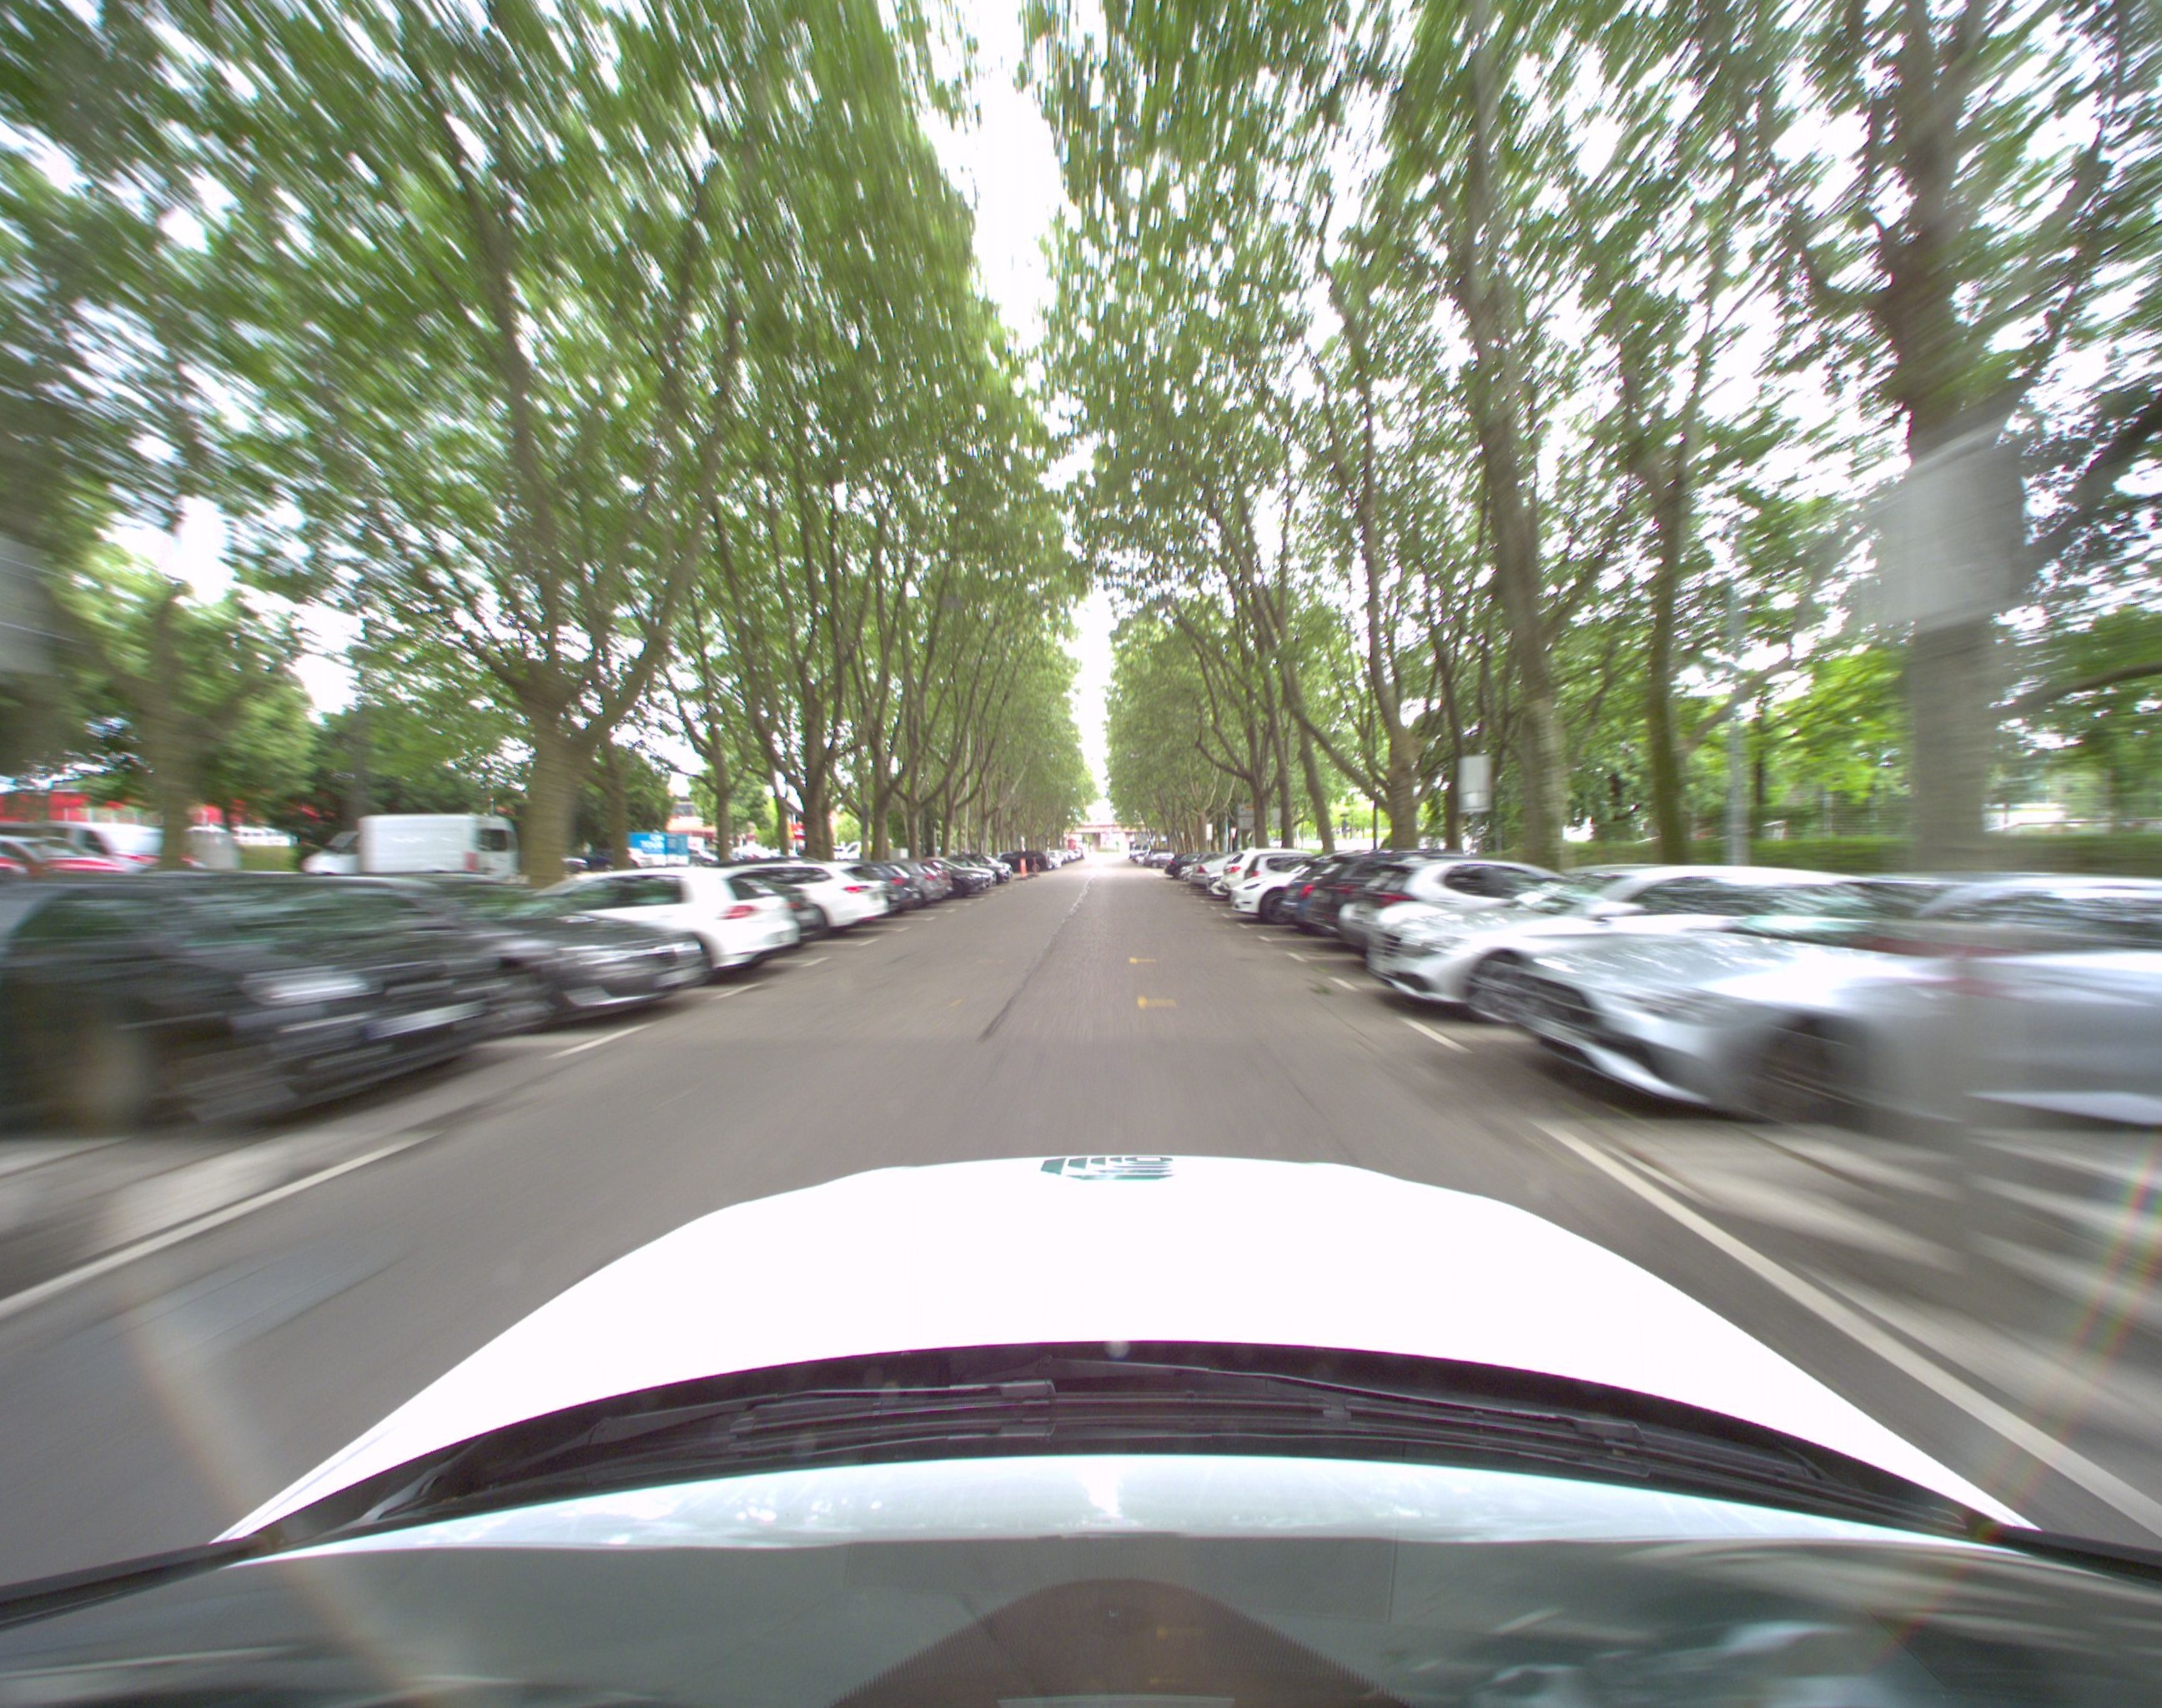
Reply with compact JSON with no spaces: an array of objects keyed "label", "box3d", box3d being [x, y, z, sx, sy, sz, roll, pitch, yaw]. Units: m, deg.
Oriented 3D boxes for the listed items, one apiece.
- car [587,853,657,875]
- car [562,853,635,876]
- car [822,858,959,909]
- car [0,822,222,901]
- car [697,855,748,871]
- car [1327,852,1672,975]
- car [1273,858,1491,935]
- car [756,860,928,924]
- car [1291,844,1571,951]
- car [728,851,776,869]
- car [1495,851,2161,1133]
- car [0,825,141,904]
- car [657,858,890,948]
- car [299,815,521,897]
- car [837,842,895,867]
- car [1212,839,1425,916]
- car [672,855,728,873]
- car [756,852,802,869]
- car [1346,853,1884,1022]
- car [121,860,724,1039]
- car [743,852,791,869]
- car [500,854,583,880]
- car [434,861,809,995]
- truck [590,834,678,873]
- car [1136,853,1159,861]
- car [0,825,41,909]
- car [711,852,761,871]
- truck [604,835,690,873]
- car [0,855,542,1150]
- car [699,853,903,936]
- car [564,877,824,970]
[{"label":"car","box3d":[-31.524,0.667,55.949,3.789,1.486,1.712,1,0,0]},{"label":"car","box3d":[-31.758,0.673,53.679,3.789,1.486,1.679,1,0,0]},{"label":"car","box3d":[-5.946,0.904,25.662,3.807,1.429,1.697,-2,0,6]},{"label":"car","box3d":[-32.982,0.228,27.442,5.979,2.527,2.001,1,0,1]},{"label":"car","box3d":[-30.967,0.793,70.419,3.744,1.349,1.535,1,0,-1]},{"label":"car","box3d":[5.377,0.731,10.765,3.765,1.470,1.623,1,0,-2]},{"label":"car","box3d":[5.692,0.783,15.653,3.635,1.371,1.518,1,0,-2]},{"label":"car","box3d":[-6.057,0.936,20.951,3.814,1.429,1.802,-2,0,0]},{"label":"car","box3d":[5.530,0.656,13.193,3.765,1.597,1.820,1,0,-2]},{"label":"car","box3d":[-30.421,0.546,75.331,3.744,1.590,1.535,1,0,-1]},{"label":"car","box3d":[5.330,0.738,5.145,4.598,1.470,1.650,1,0,1]},{"label":"car","box3d":[-32.843,0.273,24.886,5.979,2.305,2.001,1,0,1]},{"label":"car","box3d":[-5.849,0.898,15.829,3.816,1.497,1.694,-2,0,-1]},{"label":"car","box3d":[-22.164,0.052,27.049,5.763,2.597,2.001,1,0,2]},{"label":"car","box3d":[-20.145,0.047,76.387,5.061,2.232,1.536,1,0,0]},{"label":"car","box3d":[5.142,0.489,17.995,4.155,1.596,1.854,1,0,-2]},{"label":"car","box3d":[-30.511,0.817,65.344,3.742,1.349,1.536,1,0,0]},{"label":"car","box3d":[-30.112,0.654,81.142,3.962,1.590,1.699,1,0,10]},{"label":"car","box3d":[5.011,0.742,8.009,4.285,1.470,1.623,1,0,-2]},{"label":"car","box3d":[-6.086,0.830,7.943,4.388,1.365,1.694,-2,0,-1]},{"label":"car","box3d":[-30.309,0.578,78.648,3.962,1.590,1.699,1,0,10]},{"label":"car","box3d":[-32.174,0.778,48.602,3.789,1.486,1.679,1,0,0]},{"label":"car","box3d":[-5.757,0.885,10.559,3.816,1.429,1.694,-2,0,-1]},{"label":"truck","box3d":[-32.169,-0.048,58.711,5.292,2.742,1.929,1,0,1]},{"label":"car","box3d":[12.371,0.592,151.733,4.359,1.523,1.732,0,0,2]},{"label":"car","box3d":[-32.939,0.343,22.471,5.979,2.330,2.001,1,0,1]},{"label":"car","box3d":[-30.822,0.674,72.808,3.744,1.590,1.535,1,0,-1]},{"label":"truck","box3d":[-32.696,0.009,61.477,5.217,2.742,2.207,1,0,1]},{"label":"car","box3d":[-6.171,0.886,5.519,3.816,1.608,1.694,-2,0,-1]},{"label":"car","box3d":[-6.062,0.843,17.988,3.817,1.608,1.858,-2,0,-2]},{"label":"car","box3d":[-6.018,1.057,12.940,3.307,1.202,1.584,-2,0,-2]}]
